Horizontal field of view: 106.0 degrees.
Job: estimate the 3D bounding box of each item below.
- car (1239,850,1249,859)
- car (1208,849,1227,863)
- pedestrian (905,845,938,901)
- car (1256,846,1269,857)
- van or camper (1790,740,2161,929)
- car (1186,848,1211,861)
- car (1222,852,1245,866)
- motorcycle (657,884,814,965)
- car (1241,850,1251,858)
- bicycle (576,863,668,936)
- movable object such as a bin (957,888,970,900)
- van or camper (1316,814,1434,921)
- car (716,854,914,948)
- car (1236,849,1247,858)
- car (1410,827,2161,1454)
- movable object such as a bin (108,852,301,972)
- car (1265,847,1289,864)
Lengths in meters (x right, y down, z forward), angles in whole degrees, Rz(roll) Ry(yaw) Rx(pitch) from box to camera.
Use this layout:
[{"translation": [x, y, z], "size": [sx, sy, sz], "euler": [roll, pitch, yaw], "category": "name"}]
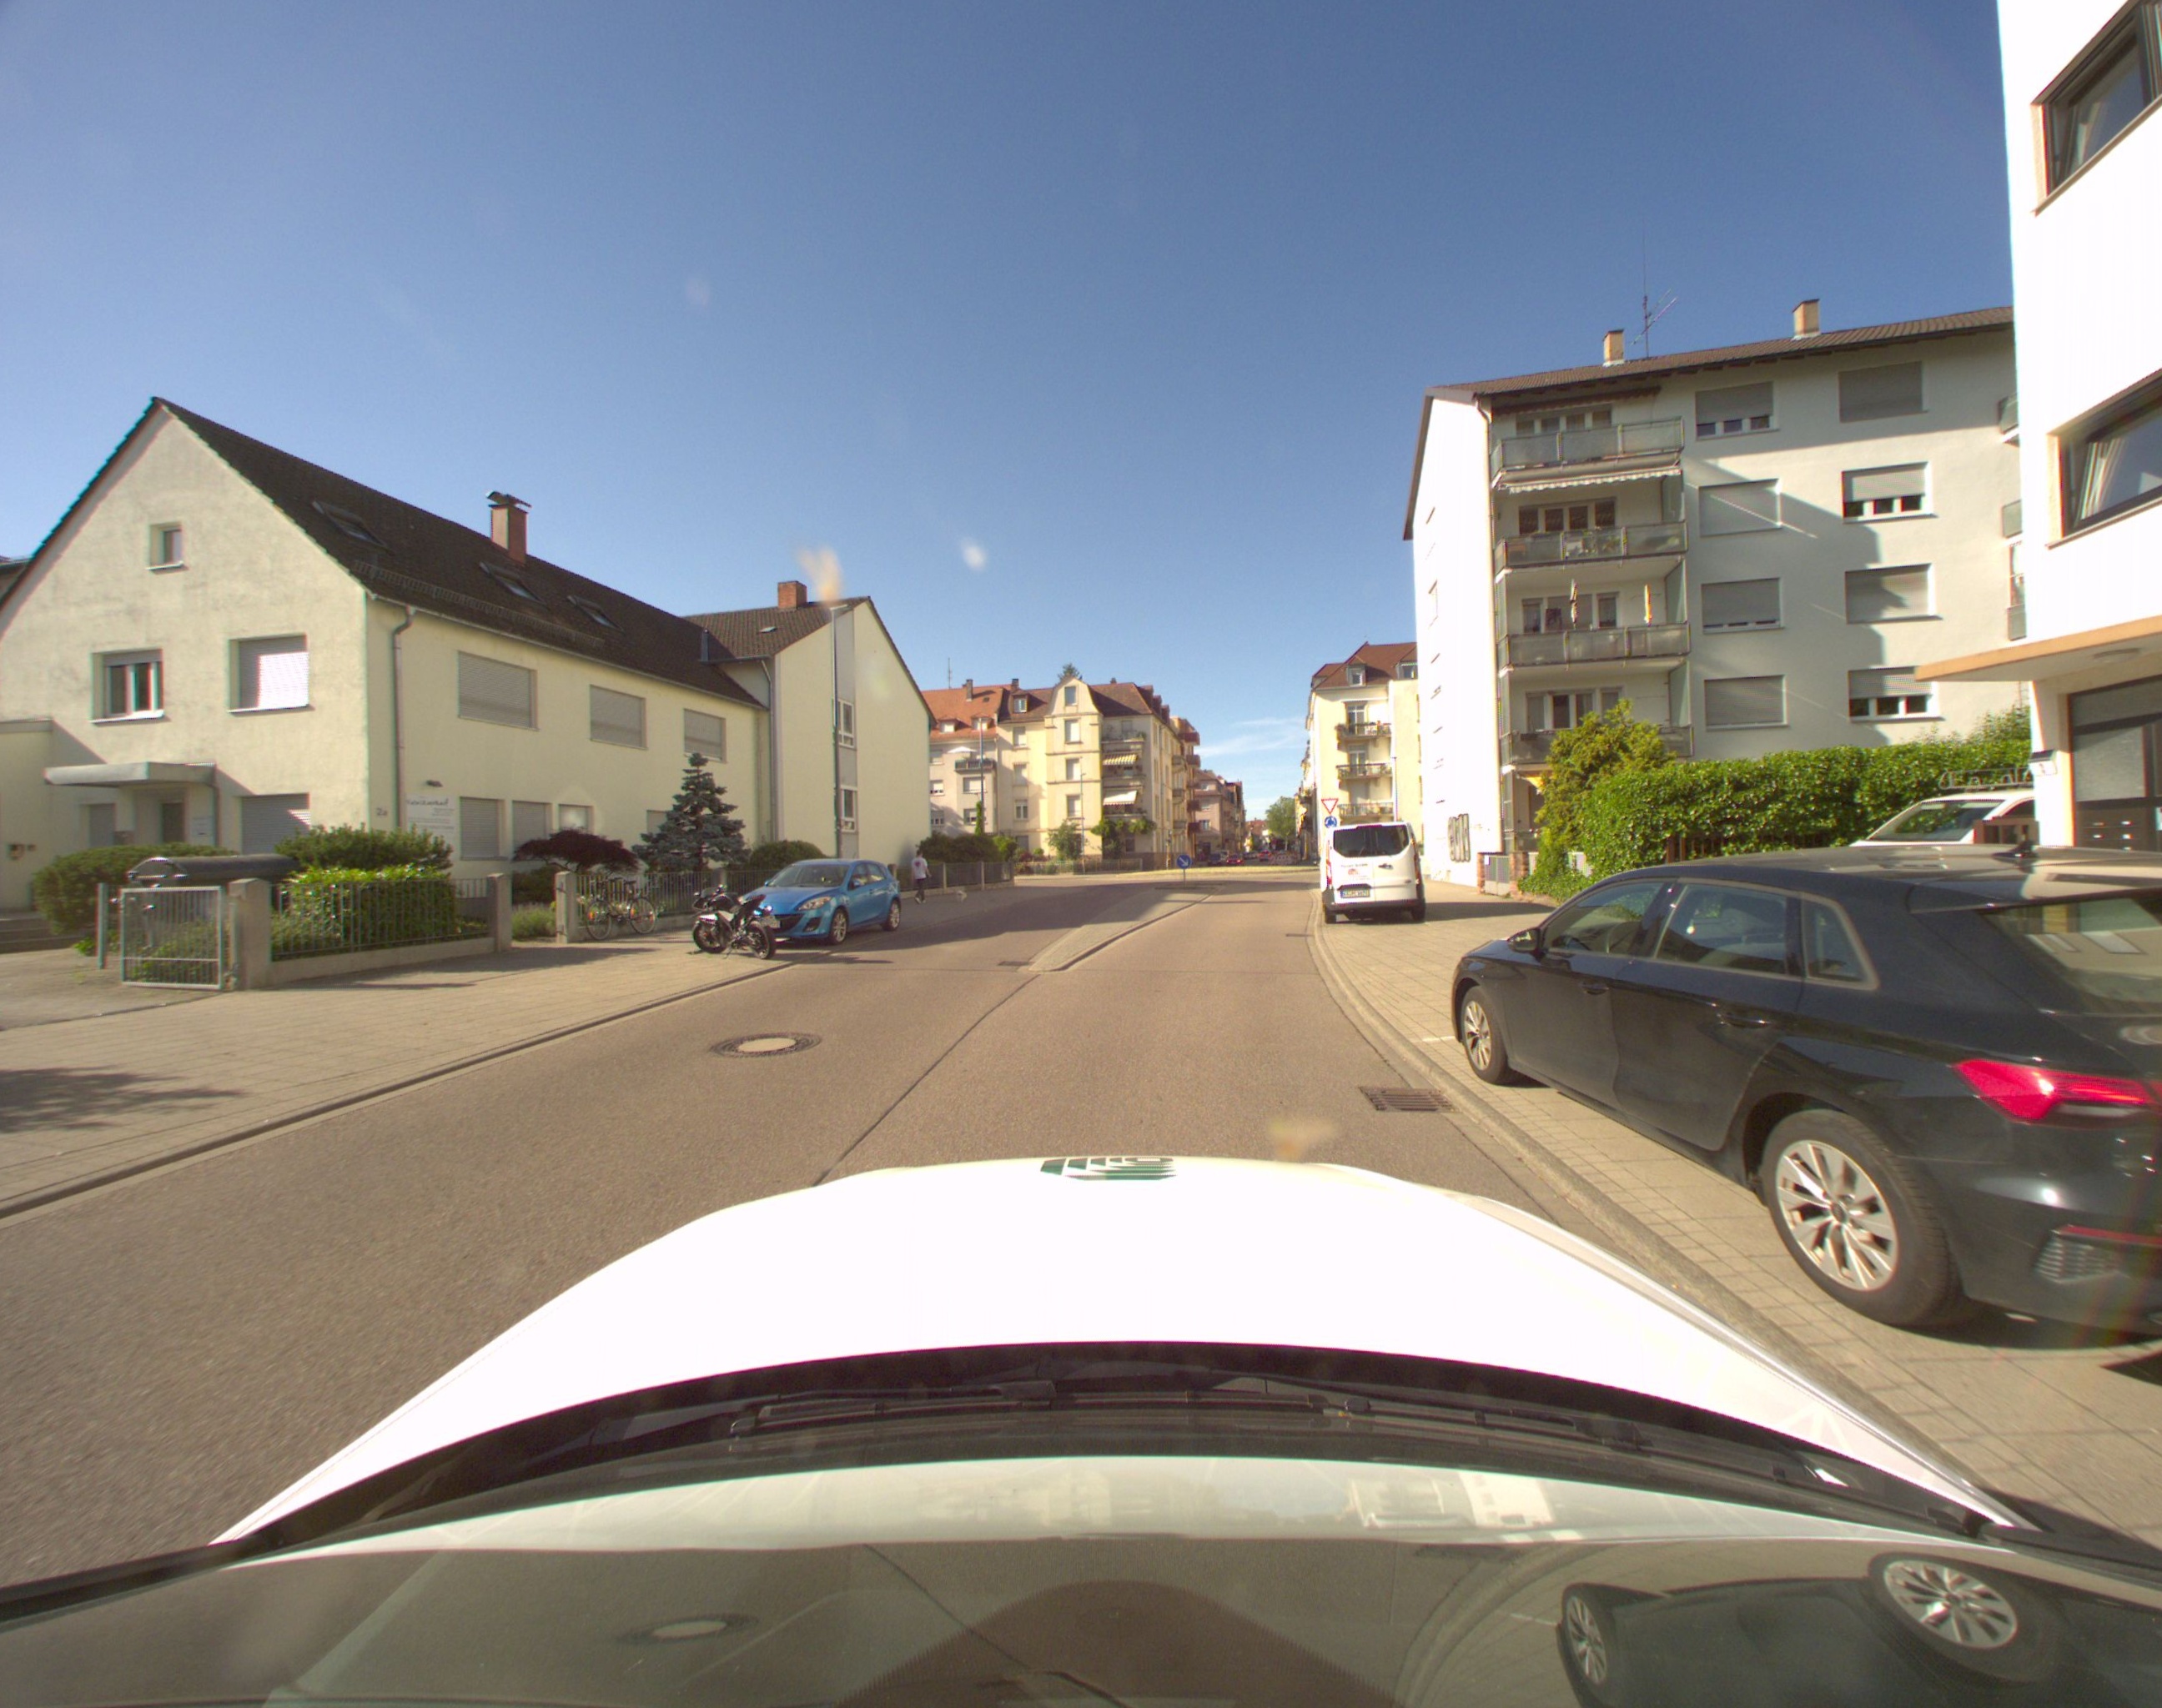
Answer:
[{"translation": [31.835, 0.036, 159.289], "size": [1.622, 1.656, 3.685], "euler": [-2, 0, 15], "category": "car"}, {"translation": [15.904, 0.181, 94.736], "size": [1.980, 1.532, 4.014], "euler": [-1, 0, 12], "category": "car"}, {"translation": [-4.942, 0.594, 25.333], "size": [0.677, 1.704, 0.827], "euler": [-2, -3, 15], "category": "pedestrian"}, {"translation": [28.229, -0.408, 126.586], "size": [1.980, 1.739, 4.014], "euler": [-2, 0, 13], "category": "car"}, {"translation": [13.130, -0.266, 11.070], "size": [4.926, 2.288, 1.861], "euler": [-2, 0, 13], "category": "van or camper"}, {"translation": [20.414, 0.090, 141.635], "size": [3.867, 2.013, 1.773], "euler": [-2, 0, 21], "category": "car"}, {"translation": [16.612, 0.570, 88.467], "size": [1.725, 1.354, 3.689], "euler": [-3, -3, 22], "category": "car"}, {"translation": [-5.180, 1.023, 12.230], "size": [2.040, 1.019, 0.952], "euler": [2, 1, 19], "category": "motorcycle"}, {"translation": [33.756, -0.017, 166.248], "size": [1.980, 1.629, 4.013], "euler": [-1, 0, 12], "category": "car"}, {"translation": [-8.434, 0.832, 15.060], "size": [0.454, 1.250, 1.930], "euler": [-2, -3, 5], "category": "bicycle"}, {"translation": [-3.746, 1.279, 25.964], "size": [0.218, 0.348, 0.522], "euler": [-1, 0, 16], "category": "movable object such as a bin"}, {"translation": [6.262, 0.255, 17.863], "size": [2.005, 1.947, 4.723], "euler": [-4, -1, 16], "category": "van or camper"}, {"translation": [-4.725, 0.748, 15.215], "size": [1.788, 1.473, 4.340], "euler": [0, 0, 7], "category": "car"}, {"translation": [29.327, -0.075, 148.625], "size": [1.622, 1.656, 3.685], "euler": [-2, 0, 15], "category": "car"}, {"translation": [3.283, 0.658, 4.054], "size": [1.710, 1.408, 4.319], "euler": [-4, 0, 4], "category": "car"}, {"translation": [-11.693, 0.765, 10.921], "size": [1.274, 1.490, 1.230], "euler": [-2, -3, 10], "category": "movable object such as a bin"}, {"translation": [22.250, 0.183, 92.291], "size": [2.413, 1.811, 4.742], "euler": [-2, 0, 15], "category": "car"}]
